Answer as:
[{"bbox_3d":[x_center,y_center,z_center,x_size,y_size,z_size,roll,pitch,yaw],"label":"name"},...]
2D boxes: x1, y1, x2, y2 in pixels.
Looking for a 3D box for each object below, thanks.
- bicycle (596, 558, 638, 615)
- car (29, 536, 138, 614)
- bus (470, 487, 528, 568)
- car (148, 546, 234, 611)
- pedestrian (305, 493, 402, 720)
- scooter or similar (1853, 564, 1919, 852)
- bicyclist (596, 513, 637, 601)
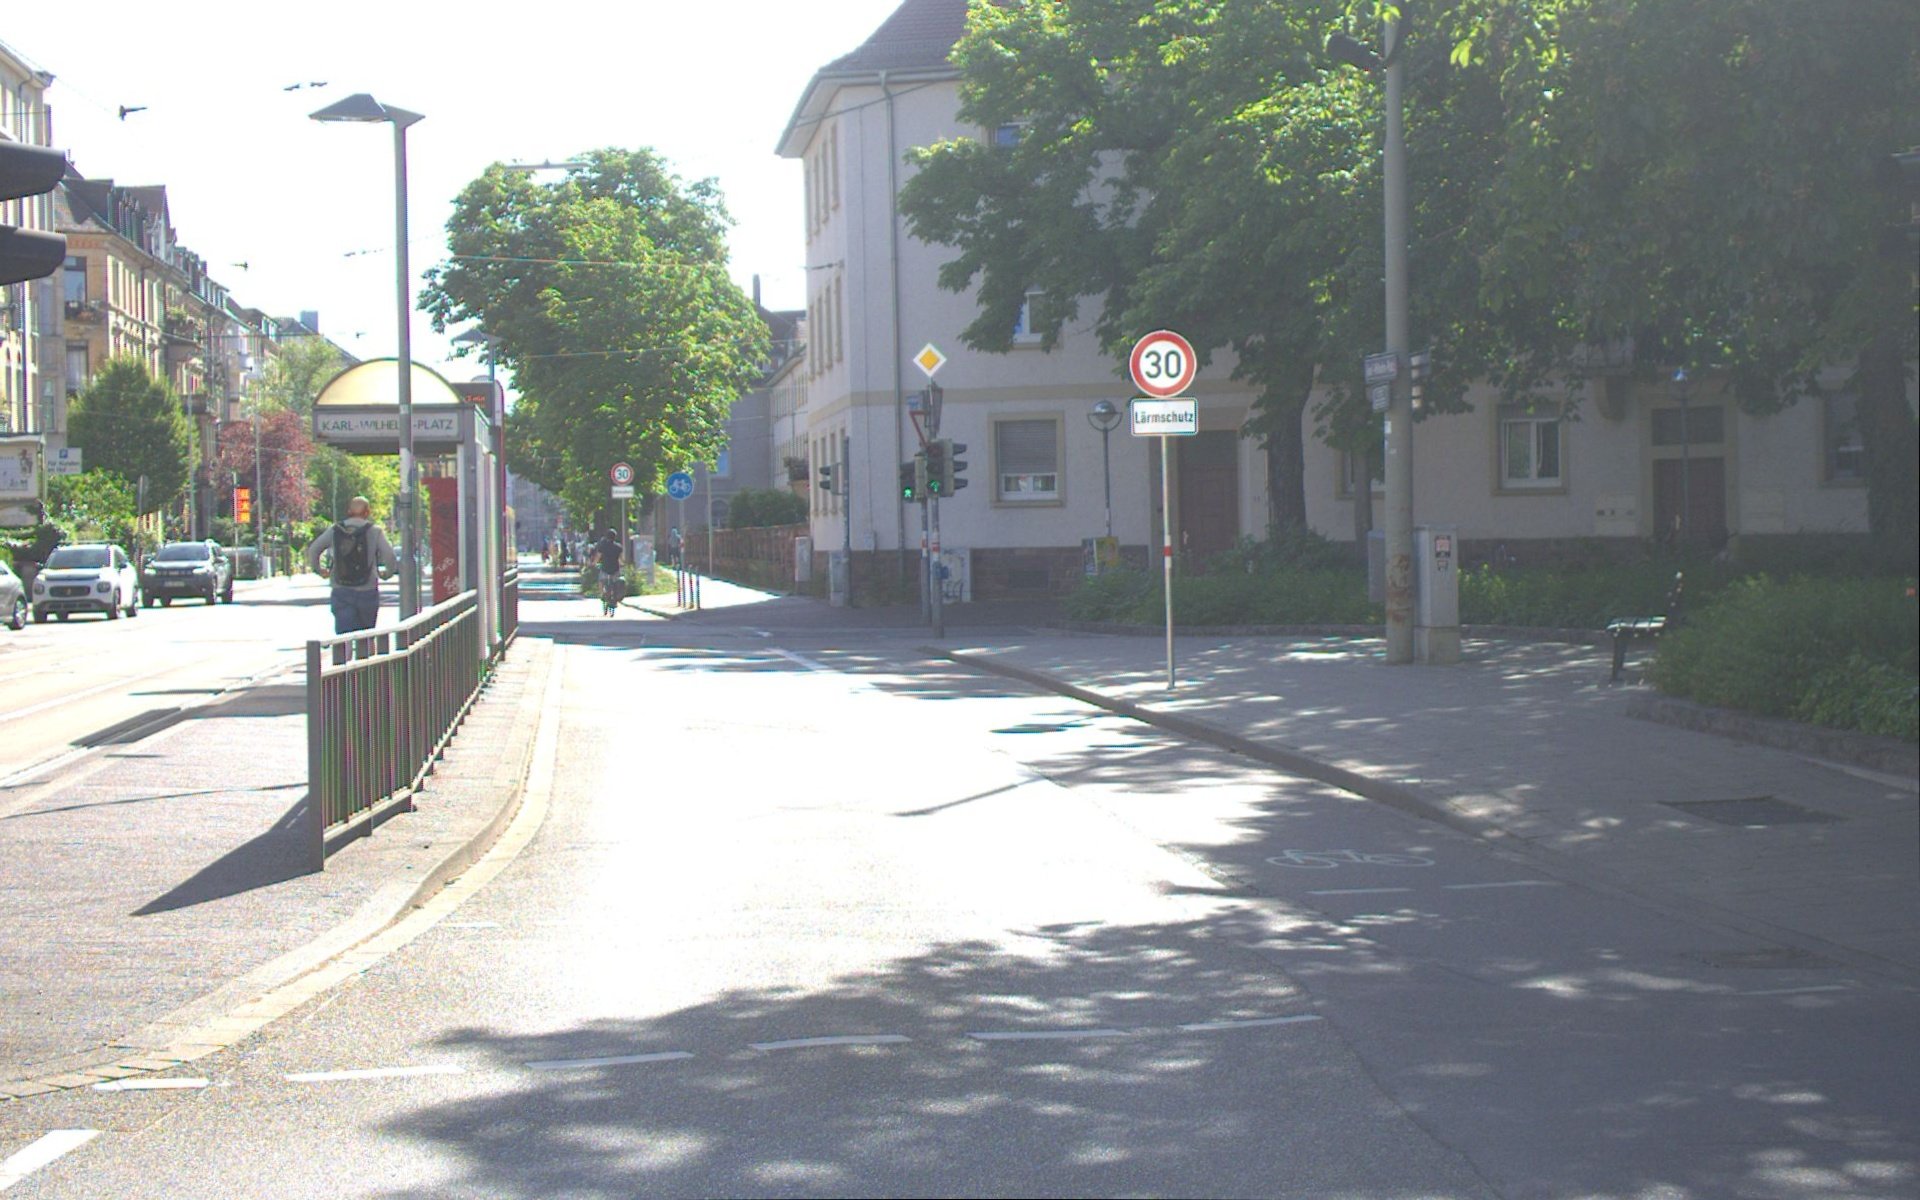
[{"bbox_3d":[-7.135,-0.288,71.366,0.841,1.152,2.539,0,0,-6],"label":"bicycle"},{"bbox_3d":[-18.530,-0.531,72.785,1.775,1.612,4.001,0,0,-8],"label":"car"},{"bbox_3d":[-20.325,-3.149,151.355,2.385,3.484,7.386,0,0,-8],"label":"bus"},{"bbox_3d":[-19.433,-0.548,86.986,1.775,1.612,4.001,0,0,-8],"label":"car"},{"bbox_3d":[-5.418,0.058,30.741,0.795,2.007,0.740,0,0,-6],"label":"pedestrian"},{"bbox_3d":[4.672,0.491,15.831,0.676,1.306,1.329,0,0,-5],"label":"scooter or similar"},{"bbox_3d":[-7.136,-0.889,71.360,0.817,1.805,1.059,0,0,-6],"label":"bicyclist"}]
